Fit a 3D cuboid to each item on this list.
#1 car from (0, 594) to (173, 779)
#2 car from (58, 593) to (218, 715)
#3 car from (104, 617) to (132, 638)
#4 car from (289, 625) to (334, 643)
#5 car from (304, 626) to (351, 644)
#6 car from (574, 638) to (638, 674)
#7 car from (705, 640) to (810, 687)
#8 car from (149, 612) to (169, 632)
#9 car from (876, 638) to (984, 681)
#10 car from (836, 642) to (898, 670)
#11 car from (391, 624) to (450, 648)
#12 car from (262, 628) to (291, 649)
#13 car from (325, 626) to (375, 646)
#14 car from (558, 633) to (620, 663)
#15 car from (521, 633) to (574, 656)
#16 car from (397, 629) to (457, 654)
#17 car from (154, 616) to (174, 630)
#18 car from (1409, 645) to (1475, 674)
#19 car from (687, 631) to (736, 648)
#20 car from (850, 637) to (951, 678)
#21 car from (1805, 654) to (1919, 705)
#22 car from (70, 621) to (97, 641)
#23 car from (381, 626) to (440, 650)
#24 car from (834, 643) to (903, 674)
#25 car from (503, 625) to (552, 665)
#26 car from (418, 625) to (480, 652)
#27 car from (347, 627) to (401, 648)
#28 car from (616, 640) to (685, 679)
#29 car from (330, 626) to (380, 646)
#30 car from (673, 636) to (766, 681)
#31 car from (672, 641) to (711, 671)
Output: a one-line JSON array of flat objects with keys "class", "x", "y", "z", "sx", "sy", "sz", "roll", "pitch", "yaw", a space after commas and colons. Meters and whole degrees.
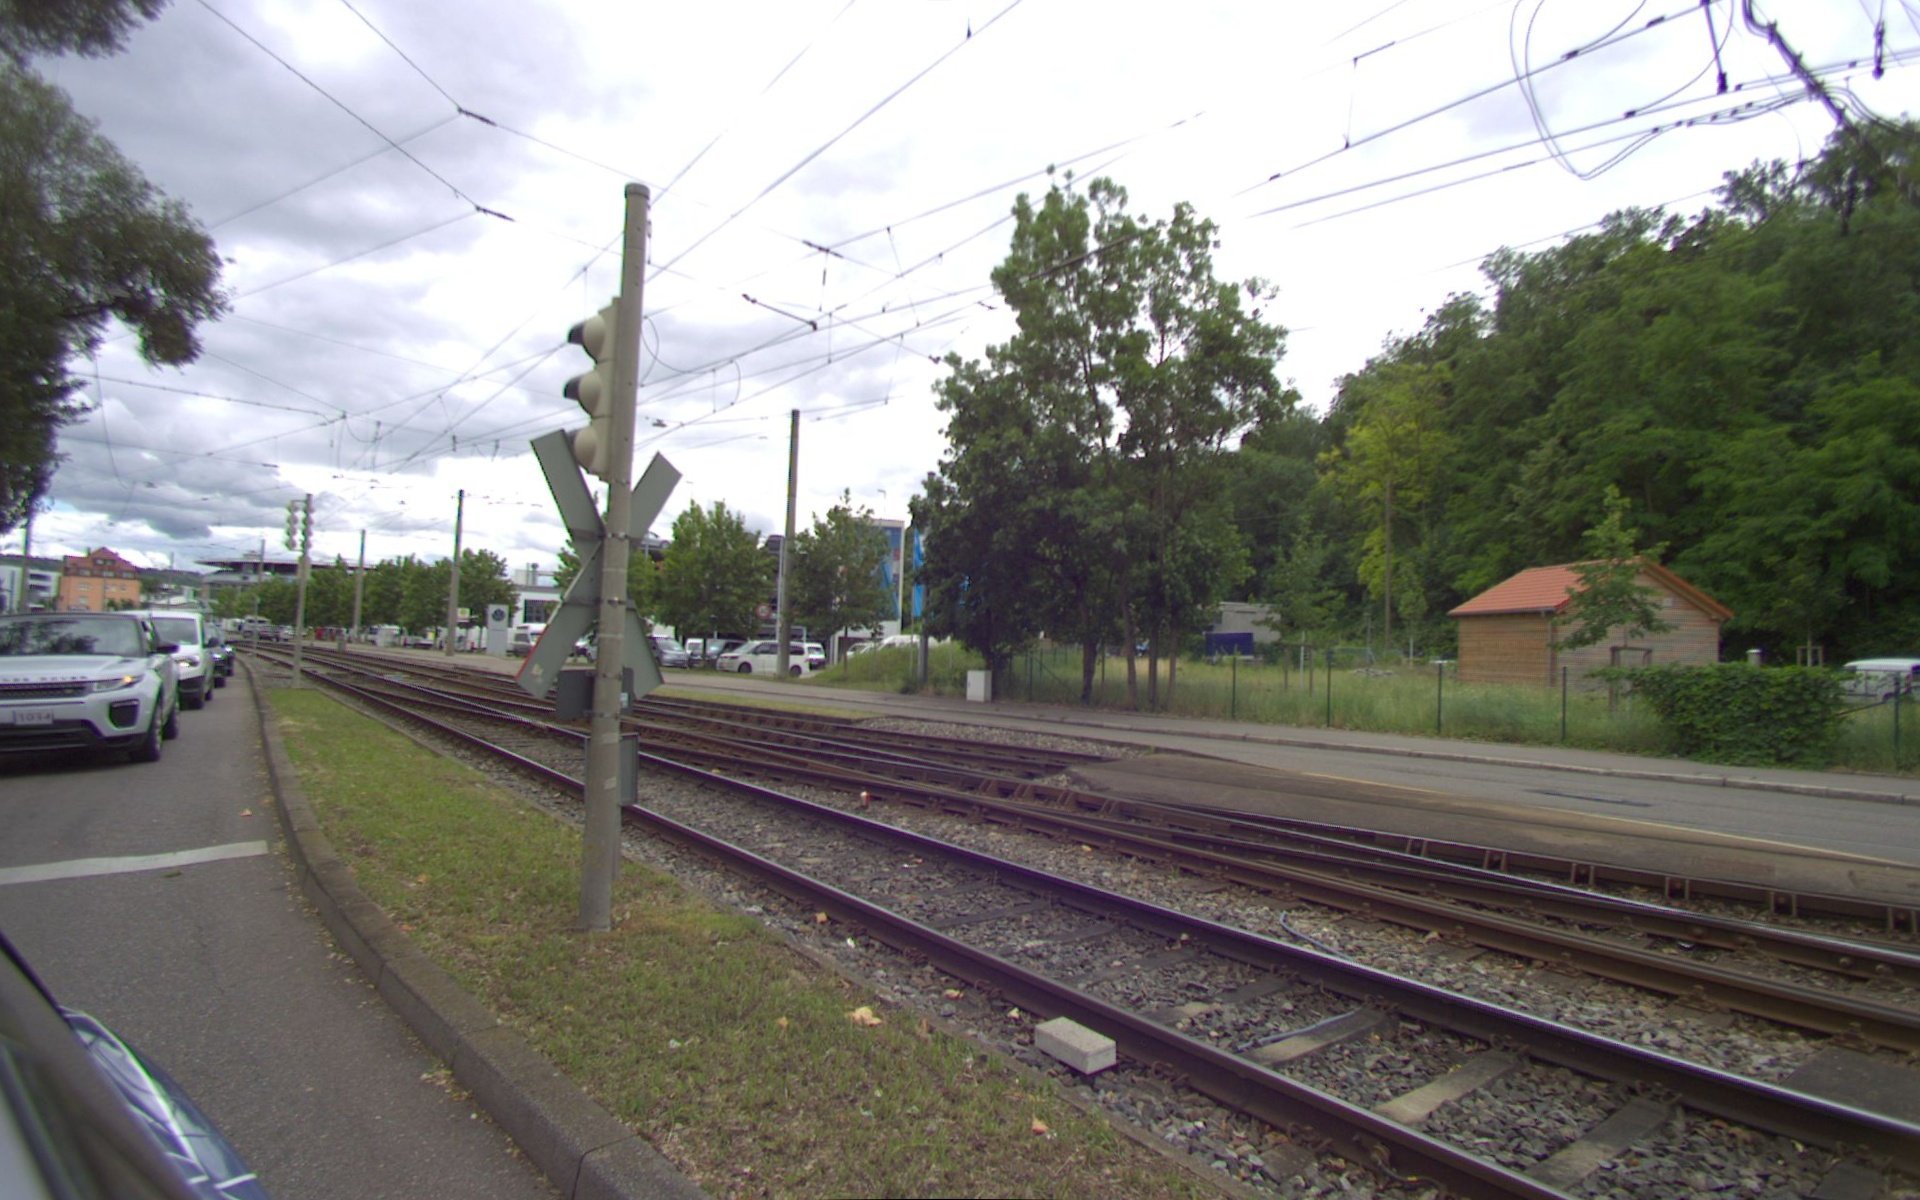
[{"class": "car", "x": -10.015, "y": 0.866, "z": 11.148, "sx": 1.967, "sy": 1.703, "sz": 4.278, "roll": 2, "pitch": -3, "yaw": -36}, {"class": "car", "x": -15.537, "y": 0.978, "z": 19.391, "sx": 1.967, "sy": 2.017, "sz": 5.046, "roll": 2, "pitch": -2, "yaw": -35}, {"class": "car", "x": -75.410, "y": 2.447, "z": 90.604, "sx": 1.841, "sy": 1.763, "sz": 4.005, "roll": 1, "pitch": -1, "yaw": -41}, {"class": "car", "x": -84.186, "y": 4.436, "z": 131.342, "sx": 4.571, "sy": 2.225, "sz": 2.110, "roll": 1, "pitch": -1, "yaw": -45}, {"class": "car", "x": -78.213, "y": 4.318, "z": 125.190, "sx": 4.571, "sy": 2.225, "sz": 2.110, "roll": 1, "pitch": -1, "yaw": -45}, {"class": "car", "x": -22.927, "y": 3.605, "z": 65.451, "sx": 2.111, "sy": 2.132, "sz": 4.779, "roll": 1, "pitch": -1, "yaw": -45}, {"class": "car", "x": -10.836, "y": 3.354, "z": 54.335, "sx": 5.188, "sy": 2.285, "sz": 2.003, "roll": 0, "pitch": -1, "yaw": -40}, {"class": "car", "x": -122.862, "y": 3.339, "z": 155.148, "sx": 2.373, "sy": 2.970, "sz": 4.757, "roll": 1, "pitch": -1, "yaw": -39}, {"class": "car", "x": -1.716, "y": 3.359, "z": 57.548, "sx": 5.764, "sy": 2.285, "sz": 2.059, "roll": 0, "pitch": -1, "yaw": -14}, {"class": "car", "x": -6.714, "y": 4.037, "z": 72.892, "sx": 4.164, "sy": 1.850, "sz": 1.986, "roll": 0, "pitch": -1, "yaw": -17}, {"class": "car", "x": -51.305, "y": 3.395, "z": 96.228, "sx": 4.571, "sy": 2.225, "sz": 2.110, "roll": 1, "pitch": -1, "yaw": -45}, {"class": "car", "x": -68.547, "y": 3.867, "z": 101.494, "sx": 1.876, "sy": 1.730, "sz": 4.144, "roll": 11, "pitch": -6, "yaw": -38}, {"class": "car", "x": -71.145, "y": 4.180, "z": 118.061, "sx": 4.571, "sy": 2.225, "sz": 2.110, "roll": 1, "pitch": -1, "yaw": -45}, {"class": "car", "x": -35.318, "y": 4.568, "z": 96.621, "sx": 2.304, "sy": 2.642, "sz": 6.009, "roll": -1, "pitch": -1, "yaw": 19}, {"class": "car", "x": -41.790, "y": 4.477, "z": 102.548, "sx": 4.564, "sy": 2.225, "sz": 2.113, "roll": 0, "pitch": -1, "yaw": -37}, {"class": "car", "x": -49.696, "y": 3.812, "z": 94.360, "sx": 4.571, "sy": 2.225, "sz": 2.110, "roll": 1, "pitch": -1, "yaw": -45}, {"class": "car", "x": -119.338, "y": 3.424, "z": 151.700, "sx": 1.970, "sy": 2.029, "sz": 4.004, "roll": 1, "pitch": -1, "yaw": -43}, {"class": "car", "x": 29.279, "y": 3.594, "z": 61.586, "sx": 1.728, "sy": 1.625, "sz": 3.690, "roll": 0, "pitch": -1, "yaw": -12}, {"class": "car", "x": -27.461, "y": 4.362, "z": 111.713, "sx": 5.139, "sy": 1.850, "sz": 1.986, "roll": 0, "pitch": -1, "yaw": -15}, {"class": "car", "x": -3.574, "y": 3.417, "z": 60.859, "sx": 5.754, "sy": 2.285, "sz": 2.059, "roll": 0, "pitch": -1, "yaw": -14}, {"class": "car", "x": 33.636, "y": 2.854, "z": 37.108, "sx": 1.879, "sy": 1.625, "sz": 3.688, "roll": 0, "pitch": -1, "yaw": -9}, {"class": "car", "x": -88.763, "y": 3.111, "z": 102.494, "sx": 1.877, "sy": 1.730, "sz": 4.142, "roll": 10, "pitch": -6, "yaw": -41}, {"class": "car", "x": -53.298, "y": 3.632, "z": 98.213, "sx": 4.571, "sy": 2.225, "sz": 2.110, "roll": 1, "pitch": -1, "yaw": -45}, {"class": "car", "x": -6.032, "y": 3.836, "z": 66.634, "sx": 4.164, "sy": 1.850, "sz": 1.986, "roll": 0, "pitch": -1, "yaw": -17}, {"class": "car", "x": -35.508, "y": 3.633, "z": 82.955, "sx": 2.284, "sy": 3.034, "sz": 6.172, "roll": 0, "pitch": -1, "yaw": -37}, {"class": "car", "x": -45.841, "y": 3.427, "z": 90.884, "sx": 4.571, "sy": 2.225, "sz": 2.110, "roll": 1, "pitch": -1, "yaw": -45}, {"class": "car", "x": -62.890, "y": 4.003, "z": 108.658, "sx": 4.571, "sy": 2.225, "sz": 2.110, "roll": 1, "pitch": -1, "yaw": -45}, {"class": "car", "x": -18.634, "y": 3.502, "z": 60.843, "sx": 2.110, "sy": 2.132, "sz": 4.781, "roll": 1, "pitch": -1, "yaw": -43}, {"class": "car", "x": -69.476, "y": 4.146, "z": 116.262, "sx": 4.571, "sy": 2.225, "sz": 2.110, "roll": 1, "pitch": -1, "yaw": -45}, {"class": "car", "x": -13.510, "y": 3.238, "z": 56.947, "sx": 4.700, "sy": 2.285, "sz": 1.984, "roll": 0, "pitch": -1, "yaw": -40}, {"class": "car", "x": -18.971, "y": 3.898, "z": 71.276, "sx": 1.870, "sy": 1.907, "sz": 4.612, "roll": 0, "pitch": -1, "yaw": -25}]
